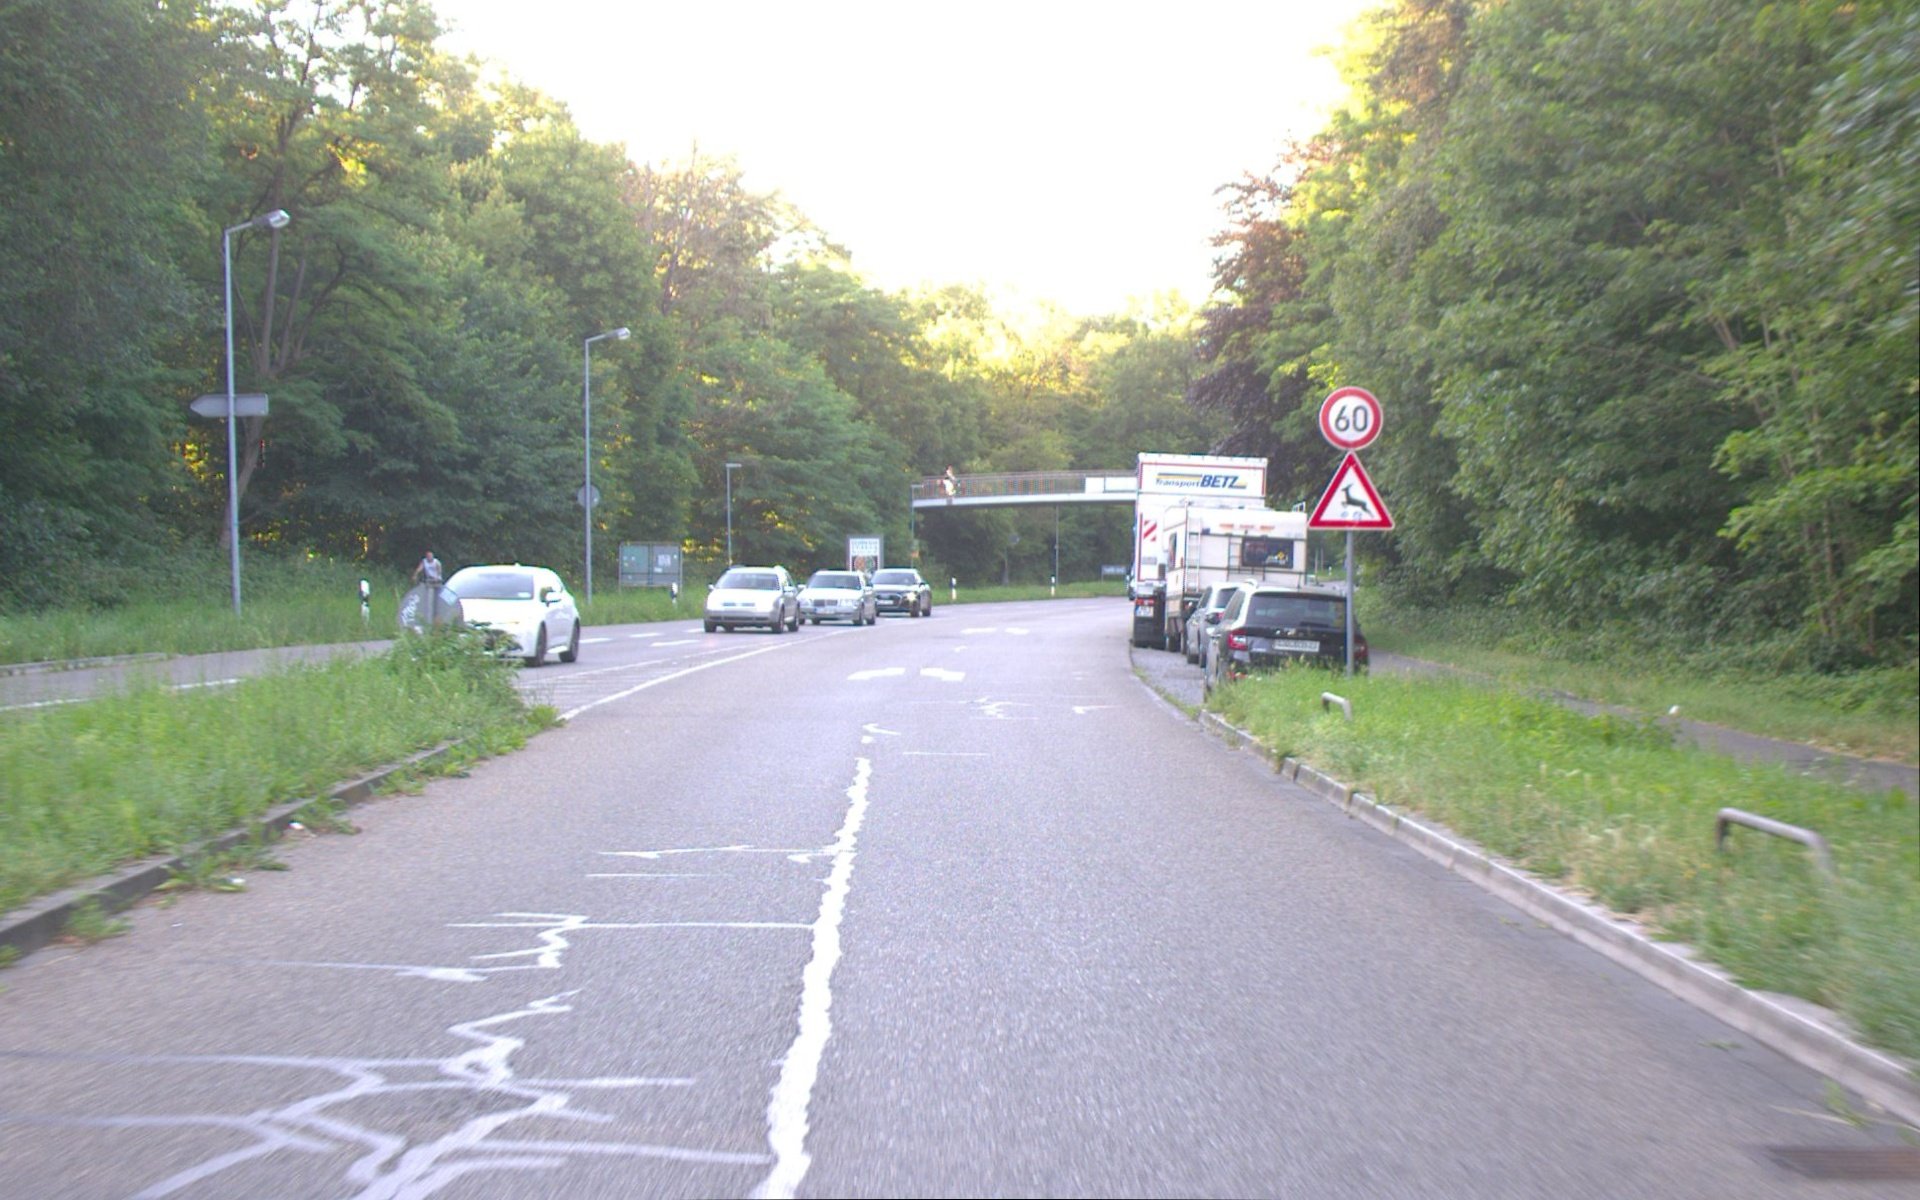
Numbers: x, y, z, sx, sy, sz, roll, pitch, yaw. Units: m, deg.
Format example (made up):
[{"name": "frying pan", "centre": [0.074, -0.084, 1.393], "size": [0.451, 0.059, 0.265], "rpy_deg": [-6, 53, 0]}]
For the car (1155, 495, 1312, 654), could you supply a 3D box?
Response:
[{"name": "car", "centre": [5.121, -0.480, 65.293], "size": [2.408, 2.848, 5.932], "rpy_deg": [1, 0, -1]}]

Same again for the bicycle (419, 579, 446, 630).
[{"name": "bicycle", "centre": [-13.017, 0.096, 84.831], "size": [0.629, 1.213, 2.262], "rpy_deg": [-1, 1, -9]}]

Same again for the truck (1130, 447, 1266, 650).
[{"name": "truck", "centre": [5.016, -1.083, 73.291], "size": [2.658, 4.014, 9.721], "rpy_deg": [1, 1, 3]}]

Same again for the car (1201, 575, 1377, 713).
[{"name": "car", "centre": [3.649, 0.458, 38.656], "size": [1.663, 1.401, 3.942], "rpy_deg": [3, 0, 2]}]

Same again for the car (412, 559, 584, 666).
[{"name": "car", "centre": [-6.751, 0.212, 50.615], "size": [1.836, 1.502, 3.937], "rpy_deg": [-1, -1, 3]}]

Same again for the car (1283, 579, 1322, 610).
[{"name": "car", "centre": [16.770, -0.276, 168.256], "size": [1.892, 1.442, 4.109], "rpy_deg": [0, 0, 6]}]

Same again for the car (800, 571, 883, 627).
[{"name": "car", "centre": [-3.049, -0.046, 89.166], "size": [1.720, 1.392, 4.374], "rpy_deg": [0, 1, 4]}]

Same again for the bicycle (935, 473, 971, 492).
[{"name": "bicycle", "centre": [-0.371, -6.173, 180.659], "size": [1.845, 0.946, 0.550], "rpy_deg": [1, 0, 11]}]

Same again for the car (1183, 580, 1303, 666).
[{"name": "car", "centre": [4.785, 0.367, 58.504], "size": [1.698, 1.401, 4.076], "rpy_deg": [0, 0, 0]}]

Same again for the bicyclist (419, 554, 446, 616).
[{"name": "bicyclist", "centre": [-13.007, -0.366, 84.749], "size": [0.620, 1.506, 0.847], "rpy_deg": [-1, 1, -10]}]

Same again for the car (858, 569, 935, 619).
[{"name": "car", "centre": [-1.936, -0.202, 106.286], "size": [1.892, 1.435, 4.769], "rpy_deg": [1, 1, 5]}]

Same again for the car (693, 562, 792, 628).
[{"name": "car", "centre": [-4.850, -0.127, 77.121], "size": [1.716, 1.441, 4.173], "rpy_deg": [0, 1, 3]}]
